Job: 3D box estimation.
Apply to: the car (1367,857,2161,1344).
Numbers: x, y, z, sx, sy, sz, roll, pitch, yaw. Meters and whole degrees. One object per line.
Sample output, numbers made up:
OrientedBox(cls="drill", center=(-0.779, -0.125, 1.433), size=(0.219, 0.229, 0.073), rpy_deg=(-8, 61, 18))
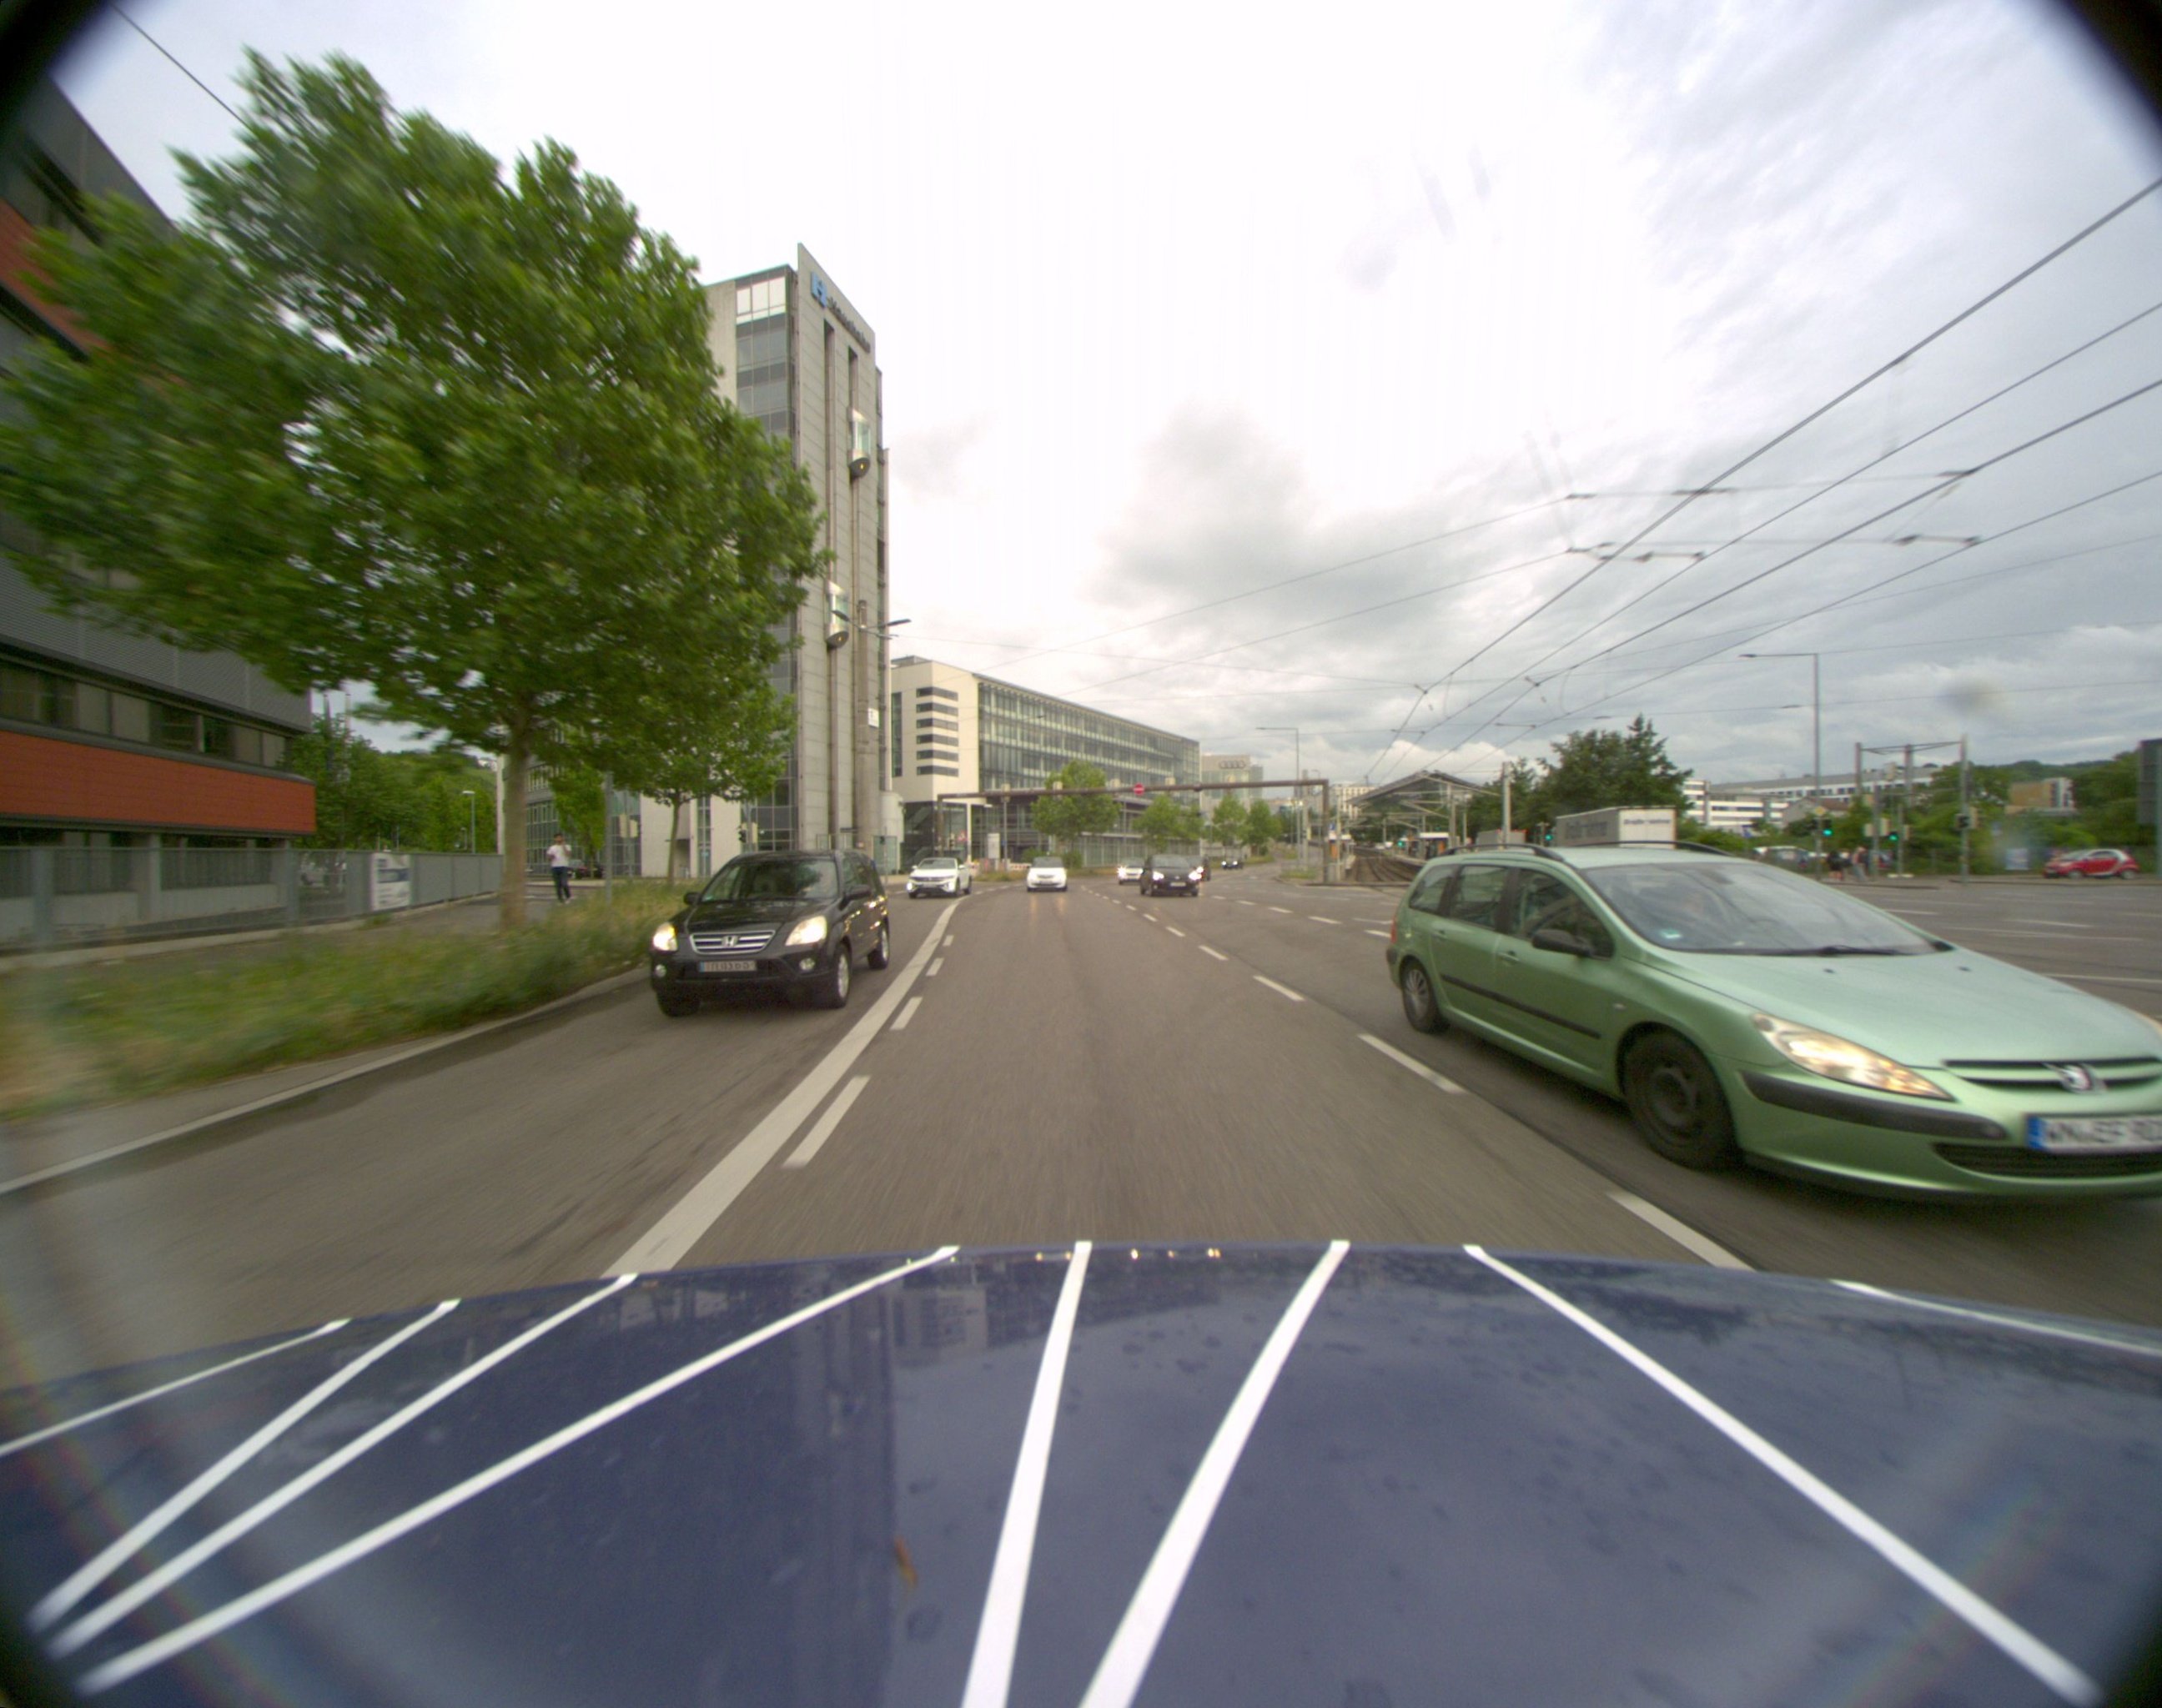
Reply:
OrientedBox(cls="car", center=(3.492, 0.793, 4.629), size=(1.699, 1.460, 4.403), rpy_deg=(-3, 0, -1))

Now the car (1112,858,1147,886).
OrientedBox(cls="car", center=(2.771, 0.985, 43.108), size=(1.739, 1.469, 4.002), rpy_deg=(-2, 0, 6))

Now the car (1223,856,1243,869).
OrientedBox(cls="car", center=(19.665, 1.122, 98.198), size=(1.699, 1.514, 3.830), rpy_deg=(-1, 1, 22))

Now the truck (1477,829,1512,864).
OrientedBox(cls="truck", center=(48.863, -0.828, 89.906), size=(2.834, 3.972, 5.996), rpy_deg=(0, 0, 20))

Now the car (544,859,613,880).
OrientedBox(cls="car", center=(-36.343, 1.155, 54.970), size=(4.315, 1.306, 1.903), rpy_deg=(-2, 1, 21))

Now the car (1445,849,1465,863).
OrientedBox(cls="car", center=(48.340, 0.296, 98.337), size=(1.889, 1.642, 4.101), rpy_deg=(-3, 0, 21))

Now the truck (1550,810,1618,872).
OrientedBox(cls="truck", center=(35.257, -0.891, 53.458), size=(2.669, 4.106, 6.194), rpy_deg=(0, 1, 20))

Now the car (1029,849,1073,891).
OrientedBox(cls="car", center=(-1.279, 0.649, 33.808), size=(1.805, 1.713, 3.999), rpy_deg=(2, 0, -1))

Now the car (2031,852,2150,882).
OrientedBox(cls="car", center=(50.779, 0.651, 38.313), size=(3.307, 1.427, 1.457), rpy_deg=(-1, 1, 32))

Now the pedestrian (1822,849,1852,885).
OrientedBox(cls="pedestrian", center=(36.072, 0.605, 36.278), size=(0.727, 1.695, 0.740), rpy_deg=(-2, 1, 17))

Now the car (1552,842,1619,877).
OrientedBox(cls="car", center=(27.776, 0.336, 42.000), size=(1.995, 1.826, 4.916), rpy_deg=(-1, -1, 20))

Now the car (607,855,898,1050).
OrientedBox(cls="car", center=(-3.431, 0.877, 8.929), size=(1.771, 1.620, 4.322), rpy_deg=(-3, 1, -5))

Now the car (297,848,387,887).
OrientedBox(cls="car", center=(-39.660, 0.778, 40.769), size=(5.069, 1.903, 2.005), rpy_deg=(-2, -4, 29))

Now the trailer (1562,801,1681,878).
OrientedBox(cls="trailer", center=(32.842, -0.840, 46.886), size=(2.652, 4.101, 12.763), rpy_deg=(0, 1, 20))

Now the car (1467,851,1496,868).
OrientedBox(cls="car", center=(41.326, 0.535, 78.418), size=(1.905, 1.546, 4.572), rpy_deg=(-3, 0, 19))

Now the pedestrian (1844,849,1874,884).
OrientedBox(cls="pedestrian", center=(37.202, 0.588, 36.333), size=(0.727, 1.653, 0.740), rpy_deg=(-2, 1, 17))

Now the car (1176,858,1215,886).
OrientedBox(cls="car", center=(7.218, 1.112, 47.674), size=(1.729, 1.582, 4.198), rpy_deg=(-3, -1, 17))

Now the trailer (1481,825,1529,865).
OrientedBox(cls="trailer", center=(46.800, -0.860, 84.191), size=(2.797, 4.083, 11.460), rpy_deg=(0, 0, 20))

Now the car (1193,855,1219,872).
OrientedBox(cls="car", center=(14.079, 1.061, 85.305), size=(1.826, 1.701, 4.160), rpy_deg=(-3, 0, 24))

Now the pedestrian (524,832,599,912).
OrientedBox(cls="pedestrian", center=(-14.145, 0.470, 20.734), size=(1.144, 2.113, 1.224), rpy_deg=(0, 1, 20))

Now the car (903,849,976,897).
OrientedBox(cls="car", center=(-5.280, 0.677, 28.824), size=(1.998, 1.669, 3.822), rpy_deg=(0, 0, 0))

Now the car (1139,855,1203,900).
OrientedBox(cls="car", center=(3.182, 0.796, 27.545), size=(1.697, 1.514, 3.904), rpy_deg=(-1, 0, -2))
